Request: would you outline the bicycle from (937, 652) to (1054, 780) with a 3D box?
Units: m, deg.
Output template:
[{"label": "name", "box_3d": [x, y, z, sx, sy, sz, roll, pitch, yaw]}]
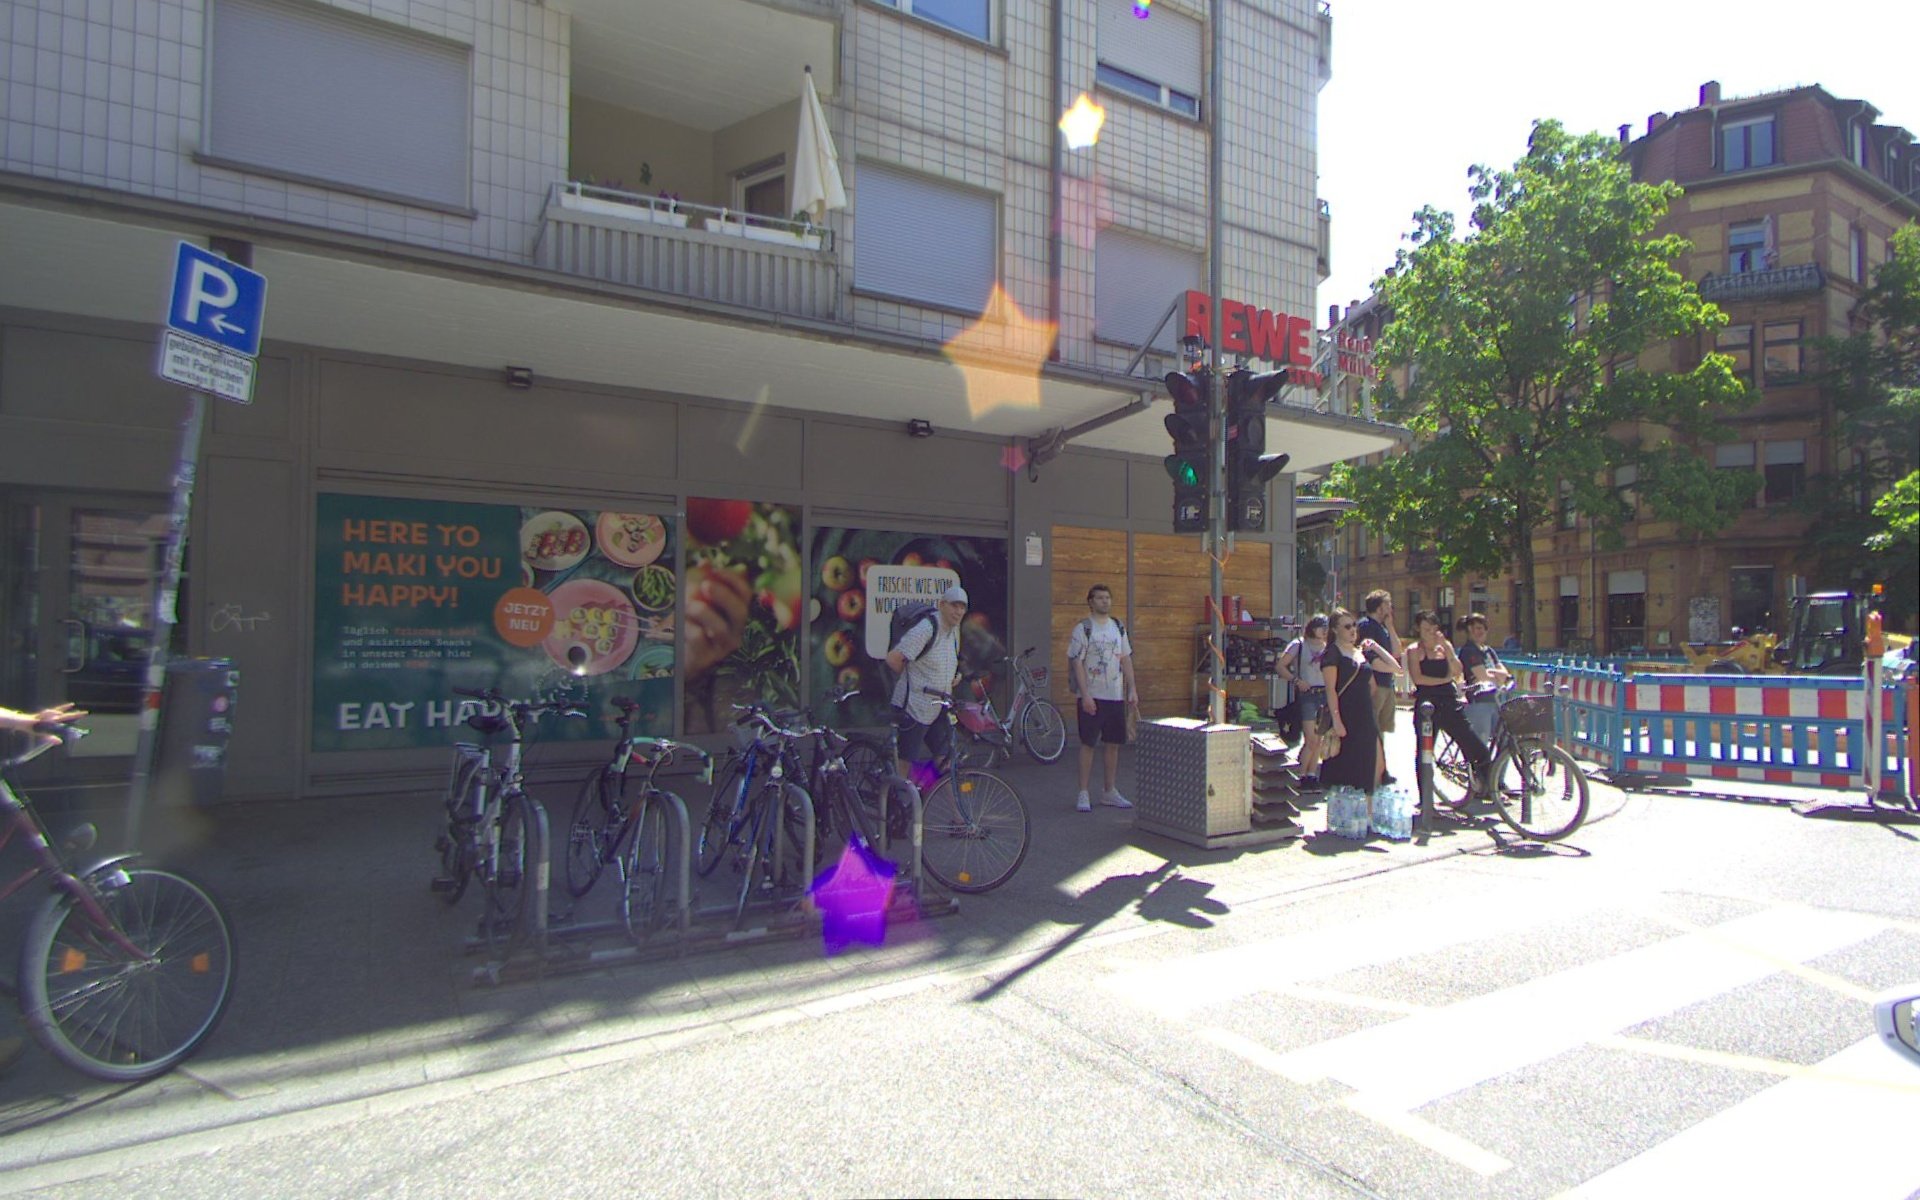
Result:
[{"label": "bicycle", "box_3d": [0.368, 1.080, 9.698, 0.317, 1.101, 1.425, 0, -1, 40]}]

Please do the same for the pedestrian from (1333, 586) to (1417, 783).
[{"label": "pedestrian", "box_3d": [4.029, 0.799, 9.754, 0.593, 1.844, 0.506, 1, -2, -33]}]

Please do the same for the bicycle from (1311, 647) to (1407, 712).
[{"label": "bicycle", "box_3d": [6.993, 1.377, 17.671, 1.553, 1.086, 0.340, -2, -3, 43]}]

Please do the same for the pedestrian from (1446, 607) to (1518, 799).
[{"label": "pedestrian", "box_3d": [4.632, 0.892, 8.918, 0.470, 1.639, 0.387, 1, -2, -33]}]

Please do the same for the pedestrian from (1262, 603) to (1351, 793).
[{"label": "pedestrian", "box_3d": [3.139, 0.862, 9.110, 0.593, 1.654, 0.506, 1, -2, -33]}]

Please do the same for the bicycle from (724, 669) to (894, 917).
[{"label": "bicycle", "box_3d": [-0.913, 1.022, 5.778, 0.332, 1.132, 1.509, 1, 0, -34]}]

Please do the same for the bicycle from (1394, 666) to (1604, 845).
[{"label": "bicycle", "box_3d": [4.147, 1.138, 7.895, 0.459, 1.134, 1.808, 1, 0, -9]}]

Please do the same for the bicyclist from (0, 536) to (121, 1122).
[{"label": "bicyclist", "box_3d": [-3.217, 0.674, 2.995, 0.615, 1.729, 0.974, -1, -2, 39]}]

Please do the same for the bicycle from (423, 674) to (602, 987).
[{"label": "bicycle", "box_3d": [-2.241, 1.005, 4.930, 0.521, 1.154, 1.573, 1, 0, -34]}]

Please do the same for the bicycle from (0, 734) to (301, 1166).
[{"label": "bicycle", "box_3d": [-3.053, 1.022, 2.803, 0.595, 1.106, 1.932, -1, -2, 37]}]

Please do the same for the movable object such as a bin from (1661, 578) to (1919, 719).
[{"label": "movable object such as a bin", "box_3d": [18.012, 0.937, 21.517, 1.933, 2.694, 4.518, 1, 0, -32]}]

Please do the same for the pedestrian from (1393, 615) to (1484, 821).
[{"label": "pedestrian", "box_3d": [3.822, 0.924, 8.050, 0.450, 1.586, 0.497, 1, 1, -4]}]

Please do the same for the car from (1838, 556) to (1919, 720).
[{"label": "car", "box_3d": [18.384, 0.686, 15.708, 2.351, 2.788, 6.593, 1, 0, -28]}]

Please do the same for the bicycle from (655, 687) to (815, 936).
[{"label": "bicycle", "box_3d": [-1.266, 1.064, 5.472, 0.332, 1.050, 1.438, 1, 0, -34]}]

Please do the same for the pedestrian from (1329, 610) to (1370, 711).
[{"label": "pedestrian", "box_3d": [6.793, 1.049, 17.528, 0.578, 1.738, 0.391, 0, -2, 9]}]

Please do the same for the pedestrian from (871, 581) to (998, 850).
[{"label": "pedestrian", "box_3d": [-0.179, 0.765, 6.998, 0.626, 1.749, 0.652, 1, -2, -35]}]

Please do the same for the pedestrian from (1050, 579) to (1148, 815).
[{"label": "pedestrian", "box_3d": [1.107, 0.748, 8.009, 0.593, 1.794, 0.506, 1, -2, -33]}]

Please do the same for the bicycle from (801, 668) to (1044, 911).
[{"label": "bicycle", "box_3d": [-0.297, 1.048, 6.136, 0.572, 1.138, 1.785, 2, 0, -35]}]

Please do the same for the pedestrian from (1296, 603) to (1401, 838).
[{"label": "pedestrian", "box_3d": [2.883, 0.863, 7.477, 0.506, 1.654, 0.538, 1, -2, -33]}]

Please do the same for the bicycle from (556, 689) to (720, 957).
[{"label": "bicycle", "box_3d": [-1.704, 1.055, 5.190, 0.394, 1.044, 1.484, 1, 0, -34]}]
